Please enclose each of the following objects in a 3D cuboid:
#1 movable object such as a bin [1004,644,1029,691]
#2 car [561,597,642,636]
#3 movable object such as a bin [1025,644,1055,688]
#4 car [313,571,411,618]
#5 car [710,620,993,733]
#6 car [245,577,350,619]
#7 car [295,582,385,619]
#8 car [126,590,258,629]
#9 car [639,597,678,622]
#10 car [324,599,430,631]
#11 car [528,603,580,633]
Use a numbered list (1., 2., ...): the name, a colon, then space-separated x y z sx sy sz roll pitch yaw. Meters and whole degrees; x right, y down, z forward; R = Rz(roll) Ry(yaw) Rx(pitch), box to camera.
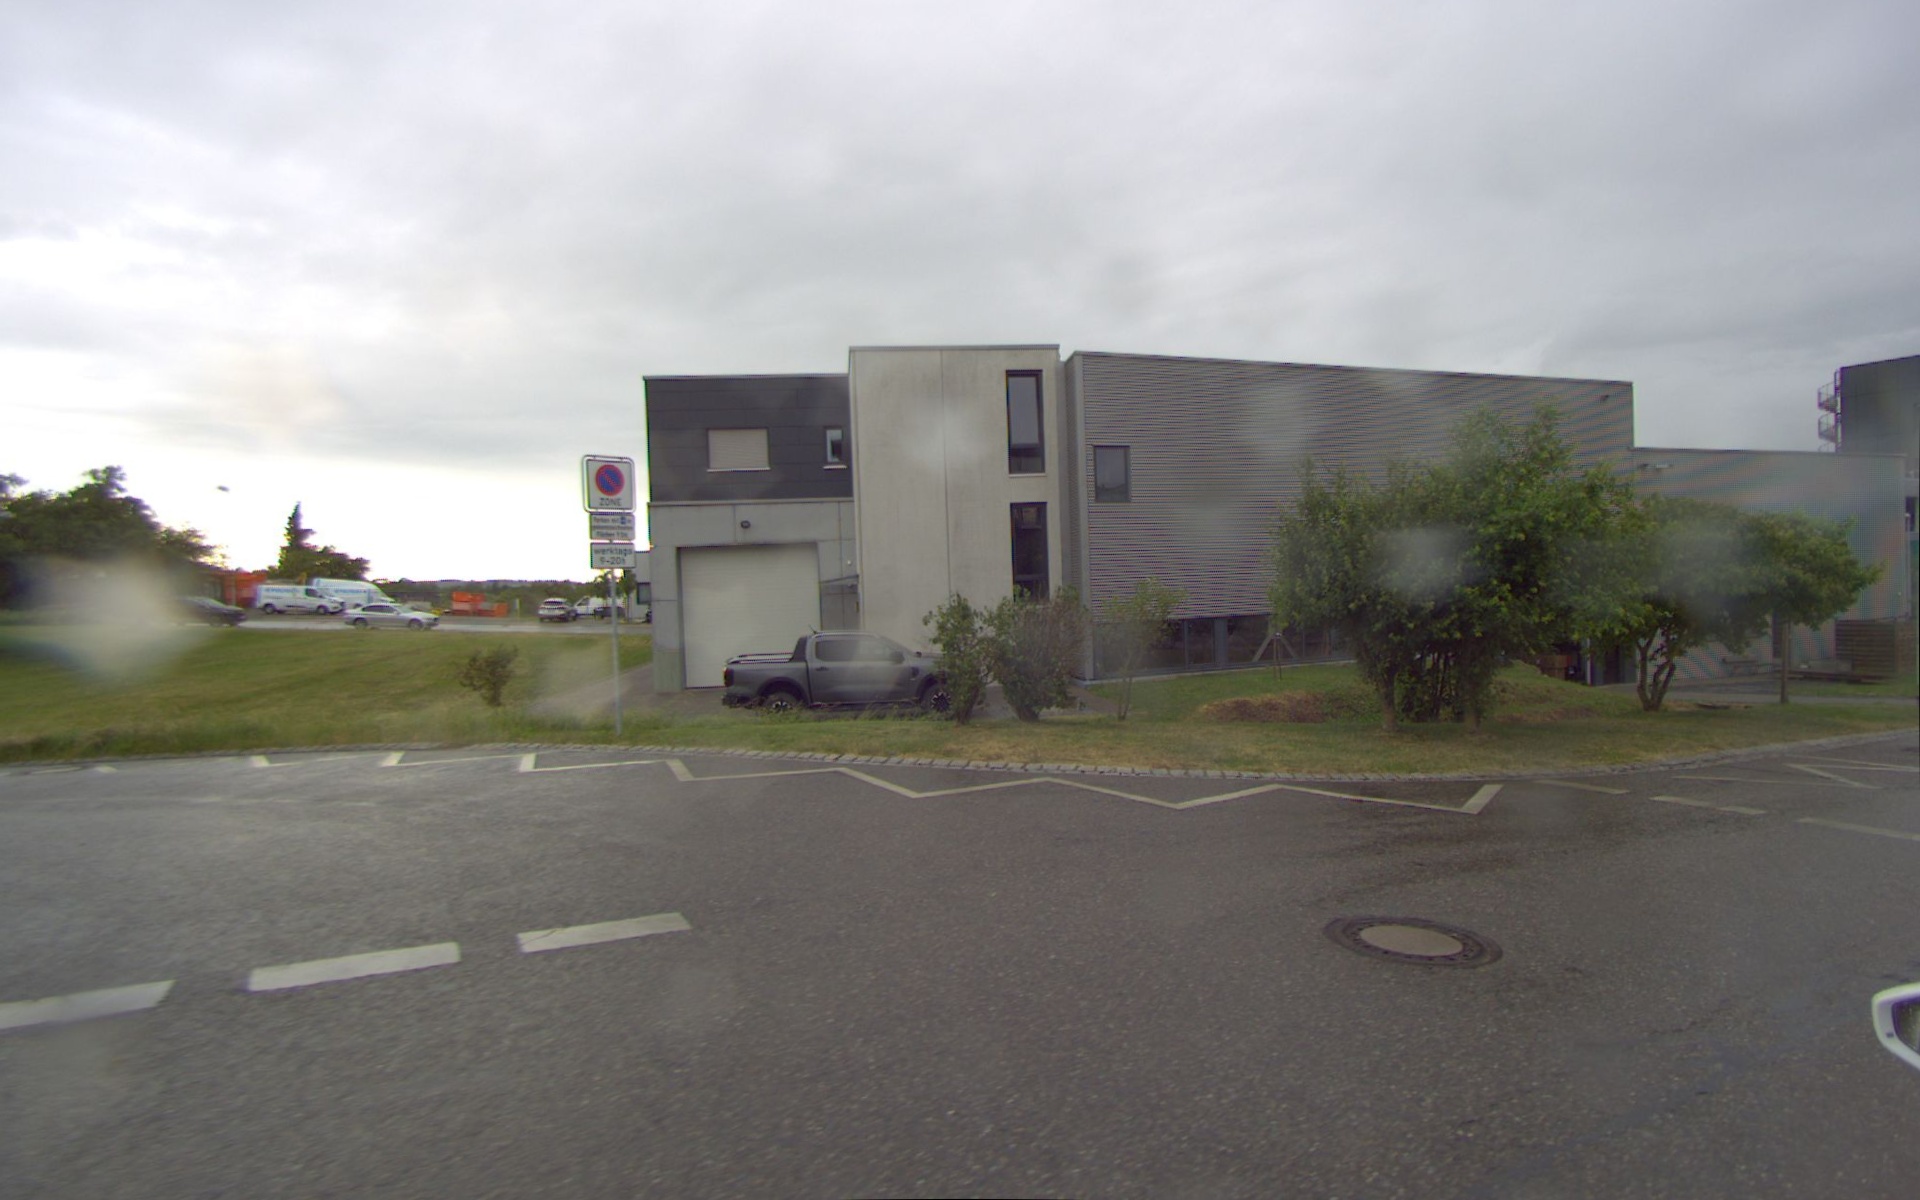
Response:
1. movable object such as a bin: 1.447 1.721 25.819 0.557 1.181 0.556 -1 -2 -5
2. car: -33.018 1.546 92.602 6.604 3.469 2.543 0 -2 -7
3. movable object such as a bin: 2.054 1.697 25.939 0.661 1.111 0.636 -1 -2 -5
4. car: -46.704 -0.389 78.520 6.183 3.474 1.998 1 -2 -7
5. car: -2.240 1.513 20.945 5.507 1.947 2.133 -2 0 -8
6. car: -46.067 -0.136 70.021 5.712 2.738 1.995 1 0 -14
7. car: -46.700 0.052 75.827 5.336 2.603 1.996 1 -2 -12
8. car: -42.720 0.563 55.970 5.321 2.000 2.289 1 -3 -7
9. car: -20.504 0.683 68.416 1.777 1.639 3.997 1 -1 -5
10. car: -32.486 0.845 56.119 4.533 1.670 2.289 0 -3 -7
11. car: -27.188 1.158 67.421 2.240 1.880 4.710 0 0 -10
